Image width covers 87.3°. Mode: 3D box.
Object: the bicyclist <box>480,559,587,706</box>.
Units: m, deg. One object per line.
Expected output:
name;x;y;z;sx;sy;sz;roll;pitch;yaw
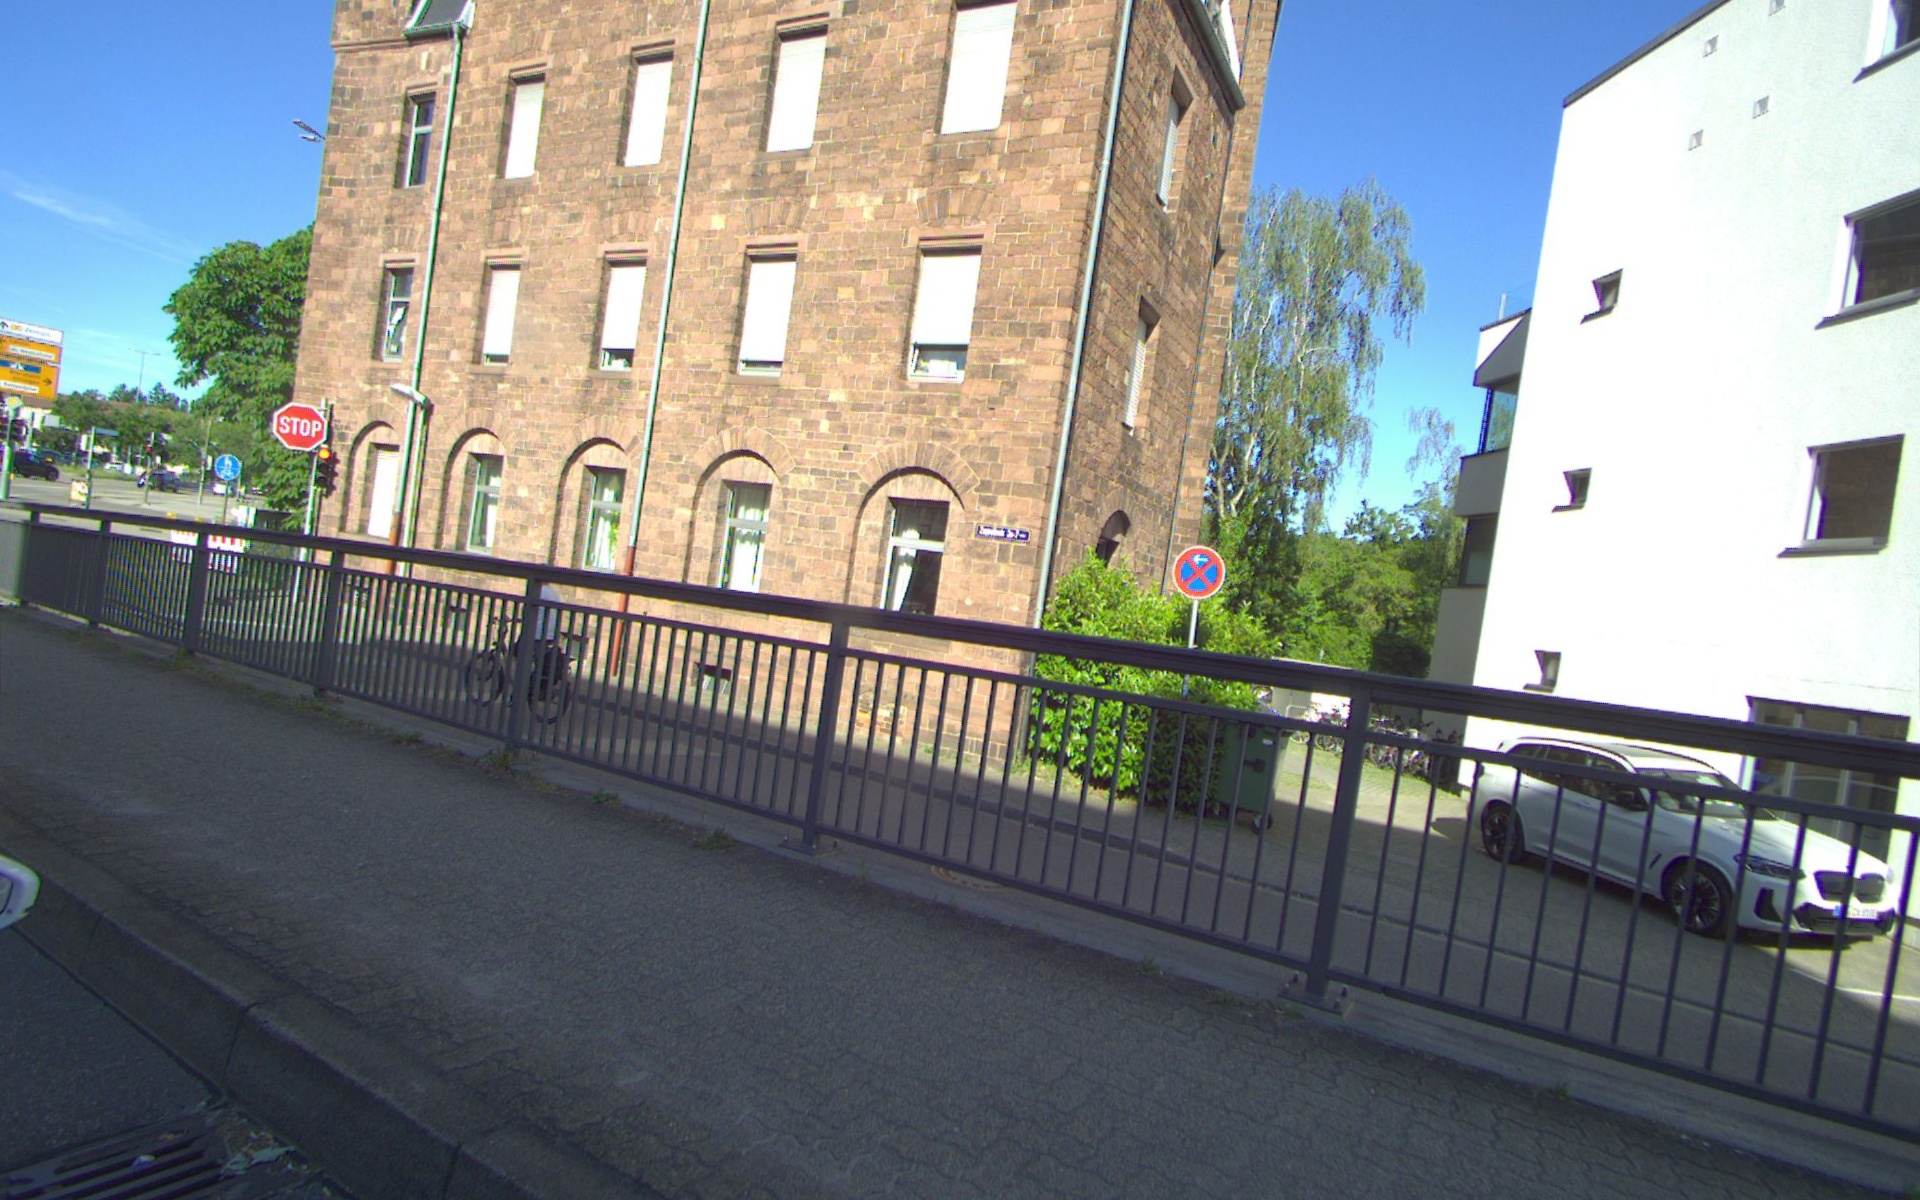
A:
bicyclist;-5.093;0.400;12.028;0.684;1.627;0.688;9;0;24

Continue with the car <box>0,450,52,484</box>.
car;-60.270;-8.535;63.835;1.859;1.650;3.994;8;0;-8

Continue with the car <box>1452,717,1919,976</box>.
car;8.192;2.637;11.825;1.814;1.707;4.520;8;0;-10

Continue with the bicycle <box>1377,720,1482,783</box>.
bicycle;10.244;3.301;21.980;1.889;1.065;0.664;8;1;-7

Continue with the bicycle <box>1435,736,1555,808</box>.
bicycle;10.317;3.324;19.437;1.889;1.065;0.664;8;1;-7

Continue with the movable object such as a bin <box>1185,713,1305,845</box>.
movable object such as a bin;3.426;2.097;12.045;1.011;1.307;1.005;9;0;29

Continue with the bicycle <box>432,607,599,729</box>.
bicycle;-5.361;0.808;12.128;1.805;1.154;0.690;9;0;25

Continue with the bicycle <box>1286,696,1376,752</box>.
bicycle;9.960;3.330;27.024;2.075;1.174;0.664;8;1;-10

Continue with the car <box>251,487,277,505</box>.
car;-87.261;-13.000;126.175;1.867;1.565;3.978;8;-2;-24

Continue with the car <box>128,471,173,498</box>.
car;-64.969;-9.254;80.819;1.869;1.650;3.972;8;0;-27

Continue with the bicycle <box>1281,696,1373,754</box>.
bicycle;9.472;3.226;25.985;2.075;1.174;0.664;8;1;-10

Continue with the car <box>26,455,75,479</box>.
car;-81.084;-11.837;89.764;1.860;1.598;3.977;8;1;-23

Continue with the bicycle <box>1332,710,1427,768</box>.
bicycle;9.961;3.285;23.891;1.889;1.065;0.664;8;1;-7

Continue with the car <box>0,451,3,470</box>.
car;-81.661;-11.889;83.414;1.860;1.598;3.977;8;1;-23

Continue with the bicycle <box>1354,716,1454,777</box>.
bicycle;10.078;3.319;22.866;1.889;1.065;0.664;8;1;-7

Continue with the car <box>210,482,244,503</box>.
car;-70.444;-10.309;96.705;1.869;1.650;3.972;8;0;-27

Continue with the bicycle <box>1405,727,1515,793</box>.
bicycle;10.460;3.347;21.068;1.889;1.065;0.664;8;1;-7

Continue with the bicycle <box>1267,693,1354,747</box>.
bicycle;9.706;3.330;27.874;2.075;1.174;0.664;8;1;-10

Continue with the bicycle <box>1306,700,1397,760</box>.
bicycle;9.744;3.226;25.056;1.889;1.174;0.664;8;1;-7

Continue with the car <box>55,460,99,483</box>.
car;-84.303;-12.244;96.080;1.860;1.598;3.977;8;1;-23
